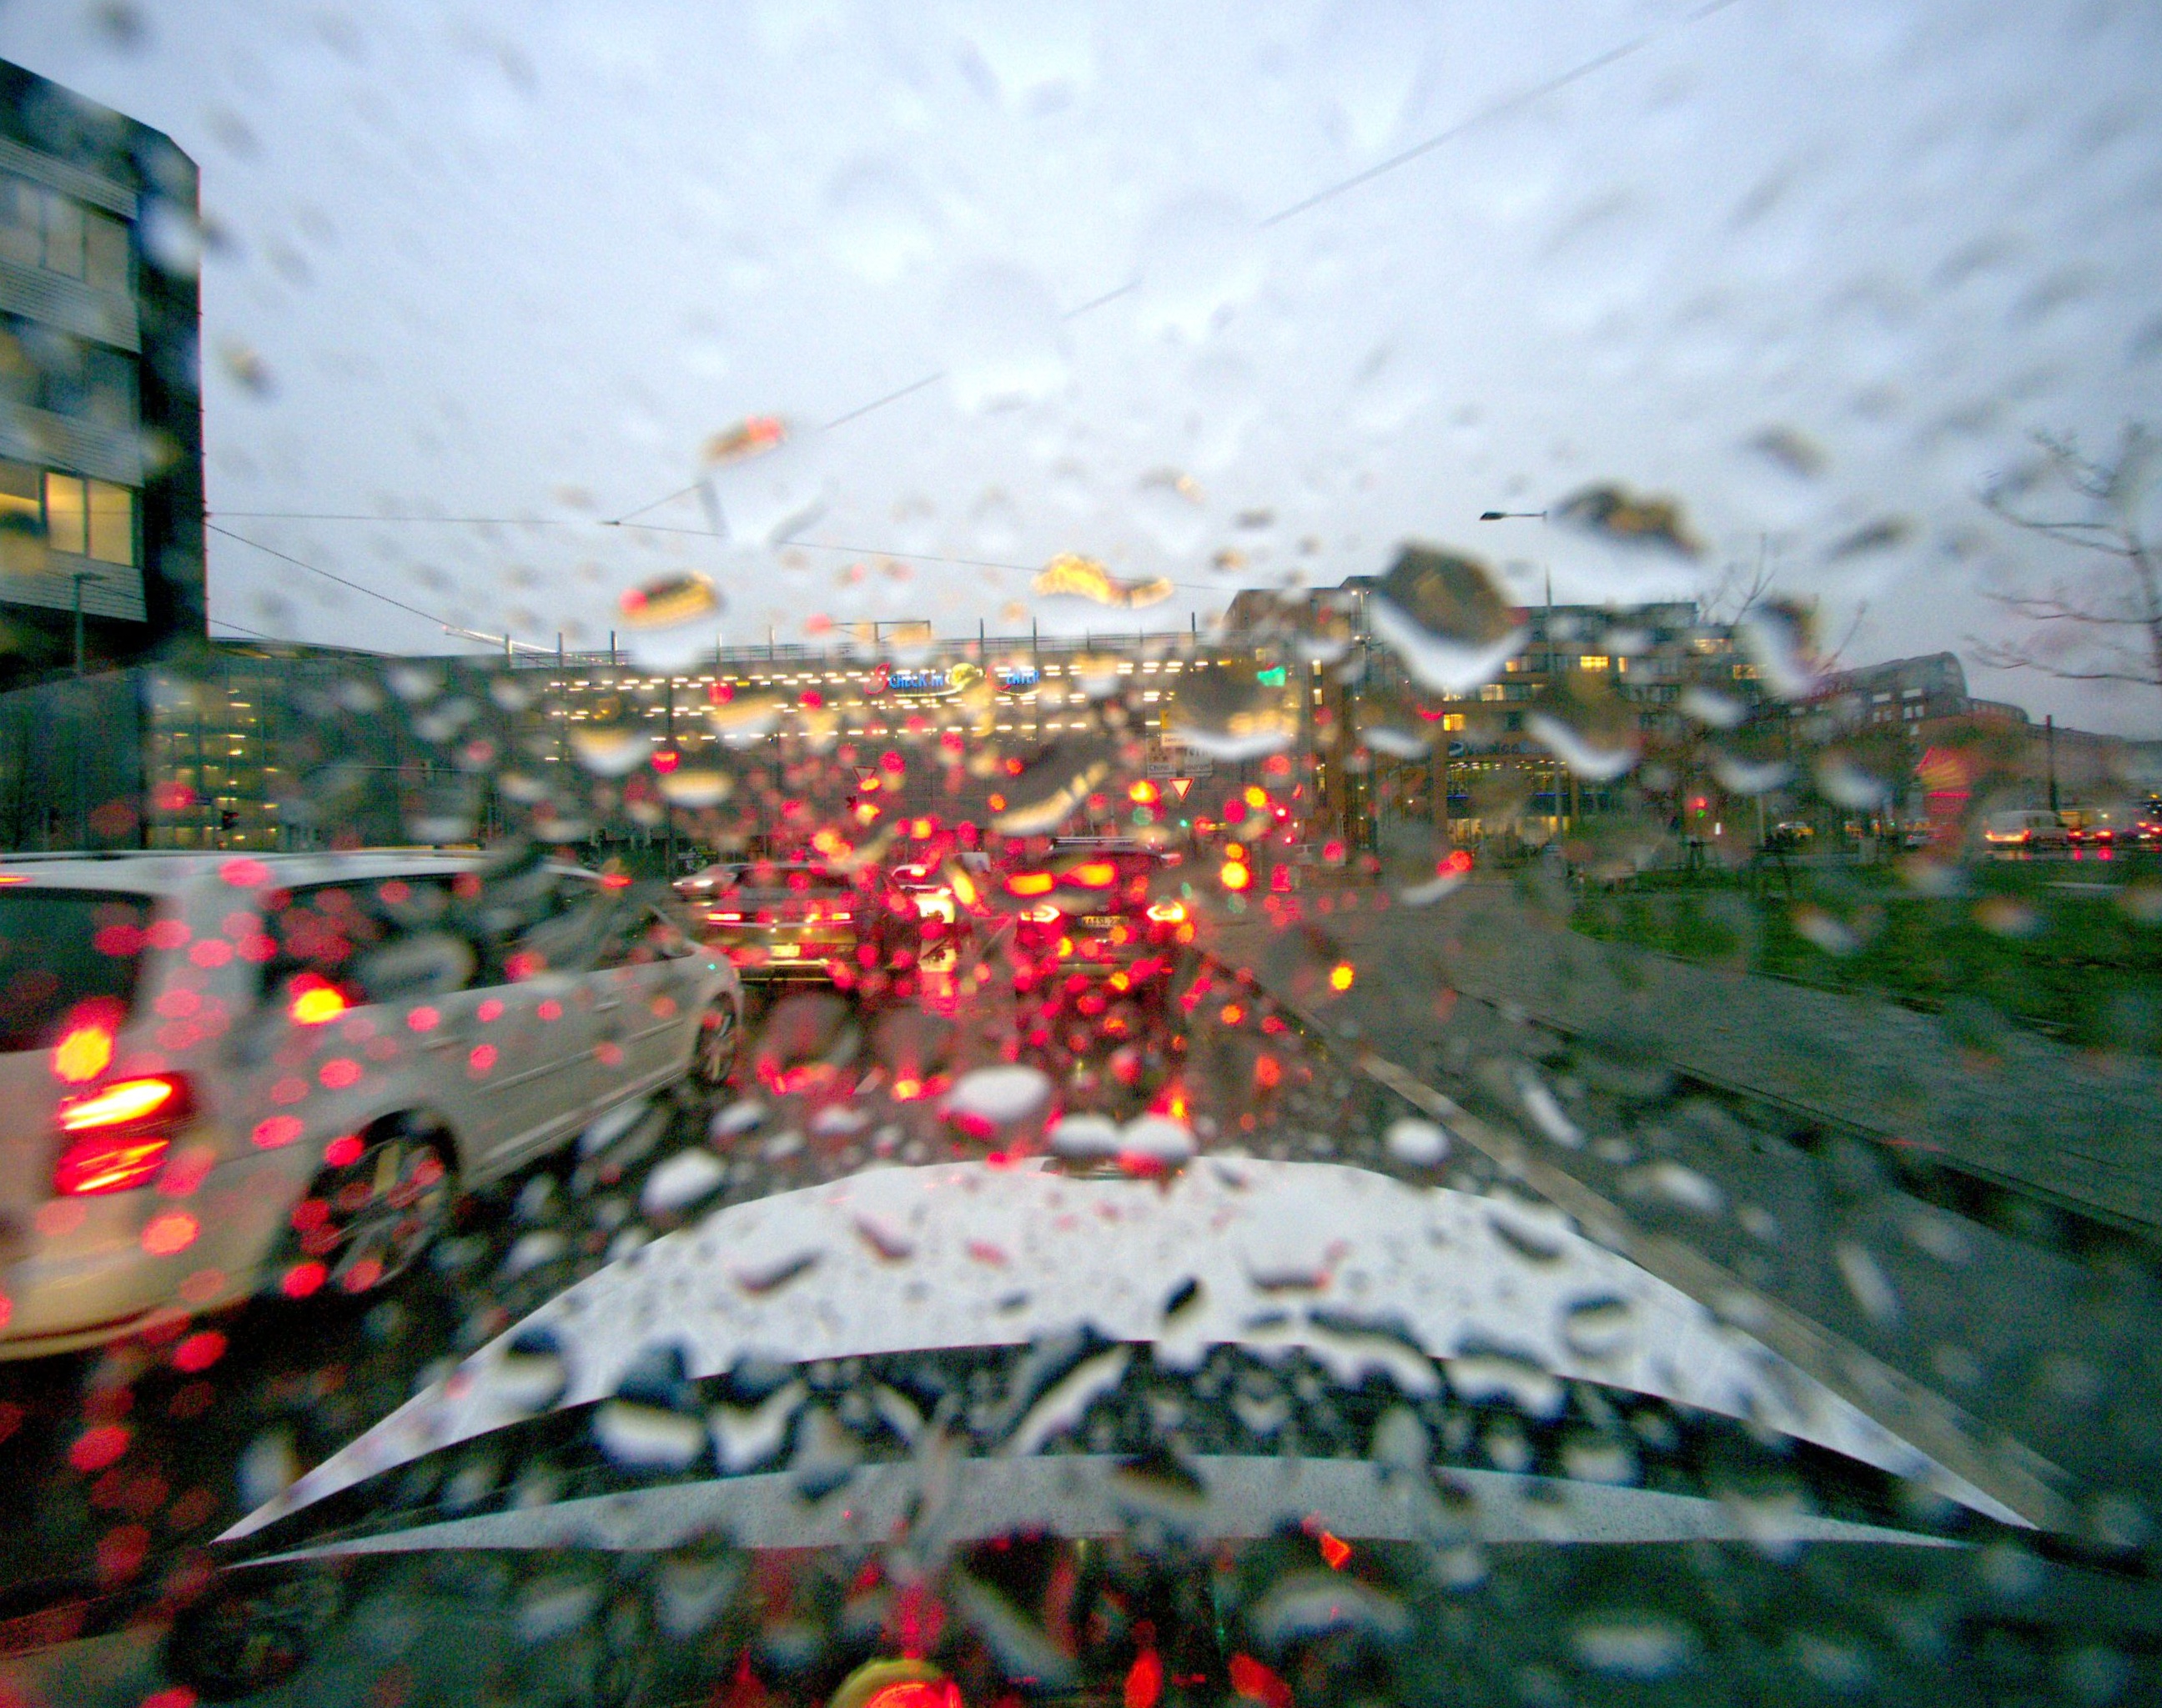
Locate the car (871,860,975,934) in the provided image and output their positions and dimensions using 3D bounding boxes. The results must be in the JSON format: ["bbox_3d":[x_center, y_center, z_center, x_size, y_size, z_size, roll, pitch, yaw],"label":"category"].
[{"bbox_3d":[-3.440,0.880,18.410,1.754,1.463,3.913,-1,0,-3],"label":"car"}]

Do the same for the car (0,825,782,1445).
[{"bbox_3d":[-3.197,0.735,4.219,1.665,1.599,4.223,0,0,1],"label":"car"}]

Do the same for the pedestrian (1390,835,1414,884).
[{"bbox_3d":[12.605,0.218,31.992,0.766,1.877,0.639,-2,-1,25],"label":"pedestrian"}]

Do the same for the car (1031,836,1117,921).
[{"bbox_3d":[-0.209,0.544,20.113,1.839,1.806,4.484,-2,0,-2],"label":"car"}]

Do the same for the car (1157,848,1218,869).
[{"bbox_3d":[8.388,0.319,64.106,4.333,1.486,1.858,-2,0,-14],"label":"car"}]

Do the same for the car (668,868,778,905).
[{"bbox_3d":[-15.504,1.385,35.565,1.626,1.386,4.500,-2,0,22],"label":"car"}]

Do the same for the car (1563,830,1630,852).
[{"bbox_3d":[43.495,-1.087,68.792,4.588,1.719,1.926,-2,0,-6],"label":"car"}]

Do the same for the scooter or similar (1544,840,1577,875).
[{"bbox_3d":[17.203,0.135,29.190,1.312,1.206,0.331,-2,-1,-26],"label":"scooter or similar"}]

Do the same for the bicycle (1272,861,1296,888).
[{"bbox_3d":[7.609,0.759,30.575,0.651,0.973,1.871,-2,0,8],"label":"bicycle"}]

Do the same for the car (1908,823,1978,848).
[{"bbox_3d":[56.737,-1.191,53.610,3.681,1.496,1.635,-2,0,-16],"label":"car"}]

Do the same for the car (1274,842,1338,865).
[{"bbox_3d":[17.898,-0.040,64.891,4.627,1.677,1.784,-2,0,-4],"label":"car"}]

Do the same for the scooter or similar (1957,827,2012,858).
[{"bbox_3d":[36.695,-0.462,33.085,1.548,1.227,0.669,0,-1,-3],"label":"scooter or similar"}]

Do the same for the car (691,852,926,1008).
[{"bbox_3d":[-3.273,0.806,10.744,1.817,1.570,4.356,-2,0,-4],"label":"car"}]

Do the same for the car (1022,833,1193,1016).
[{"bbox_3d":[0.330,0.688,9.939,1.667,1.779,4.002,0,0,2],"label":"car"}]

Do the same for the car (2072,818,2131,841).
[{"bbox_3d":[72.161,-1.741,57.614,3.469,1.520,1.513,-1,-1,-19],"label":"car"}]

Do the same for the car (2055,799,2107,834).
[{"bbox_3d":[86.657,-3.183,70.531,6.385,2.827,2.337,-1,0,-35],"label":"car"}]

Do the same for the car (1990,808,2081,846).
[{"bbox_3d":[65.470,-1.849,55.853,5.974,2.427,1.987,-2,0,-20],"label":"car"}]

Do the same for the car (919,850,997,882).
[{"bbox_3d":[-7.778,0.718,52.036,1.880,1.871,4.995,-2,0,37],"label":"car"}]

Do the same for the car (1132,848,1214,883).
[{"bbox_3d":[3.968,0.460,34.620,1.624,1.361,3.756,-2,0,40],"label":"car"}]

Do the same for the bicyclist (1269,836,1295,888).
[{"bbox_3d":[7.518,0.280,30.523,0.786,1.890,0.991,-2,0,8],"label":"bicyclist"}]

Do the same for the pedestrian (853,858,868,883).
[{"bbox_3d":[-21.077,1.565,77.916,1.106,2.439,0.966,0,-1,1],"label":"pedestrian"}]

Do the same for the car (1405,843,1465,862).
[{"bbox_3d":[29.075,-0.123,66.954,4.413,1.444,1.622,-2,0,-12],"label":"car"}]
